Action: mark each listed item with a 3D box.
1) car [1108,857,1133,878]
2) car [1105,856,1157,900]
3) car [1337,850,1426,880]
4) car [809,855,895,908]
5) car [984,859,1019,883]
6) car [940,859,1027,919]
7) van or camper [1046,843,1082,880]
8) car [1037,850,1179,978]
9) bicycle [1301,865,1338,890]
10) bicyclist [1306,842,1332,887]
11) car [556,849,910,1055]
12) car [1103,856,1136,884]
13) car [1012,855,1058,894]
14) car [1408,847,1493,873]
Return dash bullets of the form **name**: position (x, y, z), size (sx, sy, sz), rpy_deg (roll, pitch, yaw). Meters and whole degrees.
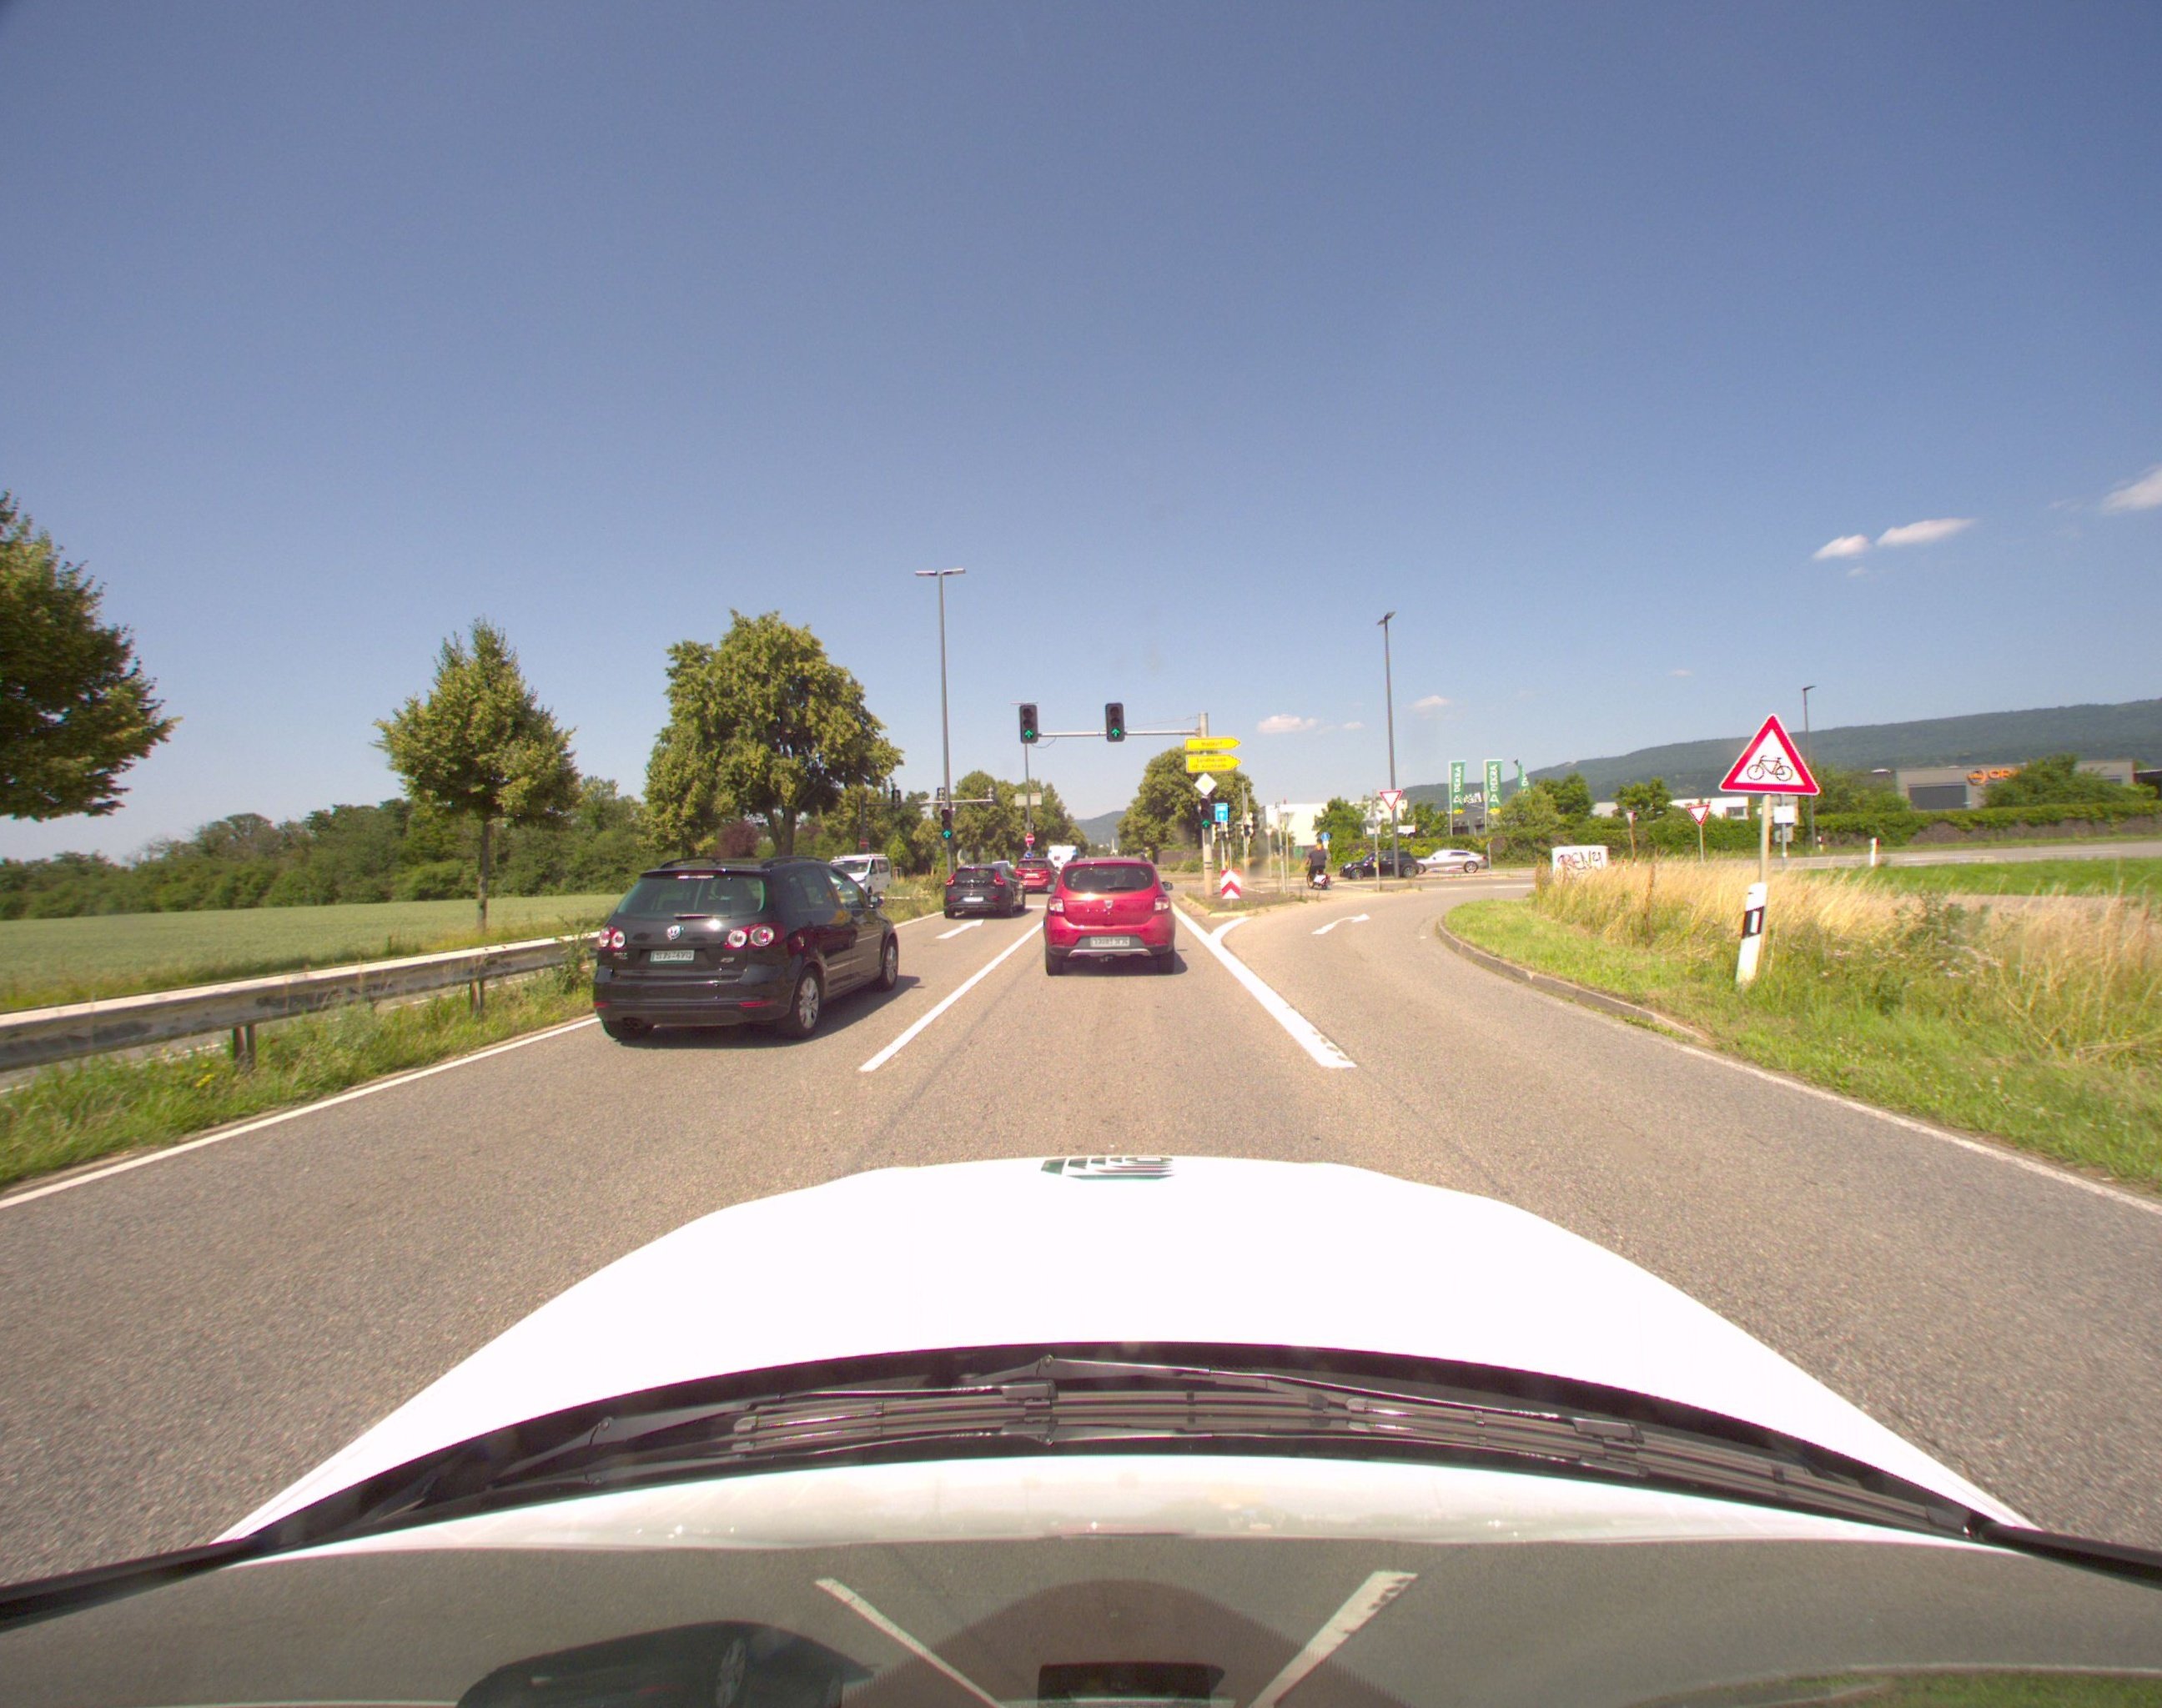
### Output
- **car**: position (2.949, 0.979, 59.836), size (1.742, 1.458, 3.680), rpy_deg (-1, 0, 4)
- **car**: position (1.824, 0.836, 29.629), size (1.742, 1.458, 3.680), rpy_deg (-1, 0, 4)
- **car**: position (14.904, 0.533, 40.602), size (3.959, 1.327, 1.813), rpy_deg (-2, 0, 13)
- **car**: position (-9.451, 1.054, 34.075), size (1.986, 1.980, 5.017), rpy_deg (-2, 0, 1)
- **car**: position (-5.807, 1.230, 60.117), size (1.986, 1.670, 4.002), rpy_deg (-2, 0, 2)
- **car**: position (-2.578, 0.904, 22.432), size (1.695, 1.442, 3.958), rpy_deg (-1, 0, 3)
- **van or camper**: position (-1.048, 0.480, 52.542), size (2.172, 2.303, 4.826), rpy_deg (0, 0, 0)
- **car**: position (0.466, 0.763, 12.018), size (1.742, 1.576, 3.680), rpy_deg (-1, 0, 4)
- **bicycle**: position (9.740, 0.939, 33.414), size (0.758, 0.915, 2.780), rpy_deg (-2, 0, 2)
- **bicyclist**: position (9.712, 0.426, 33.275), size (0.799, 1.771, 0.809), rpy_deg (-2, 0, 1)
- **car**: position (-3.117, 0.767, 8.256), size (1.716, 1.576, 3.895), rpy_deg (-1, 0, 3)
- **car**: position (2.178, 0.851, 45.238), size (1.742, 1.458, 3.680), rpy_deg (-1, 0, 4)
- **car**: position (-1.987, 0.872, 36.248), size (1.718, 1.600, 3.956), rpy_deg (-2, 0, 1)
- **car**: position (21.457, 0.370, 47.450), size (4.328, 1.327, 1.815), rpy_deg (-2, 0, 18)
